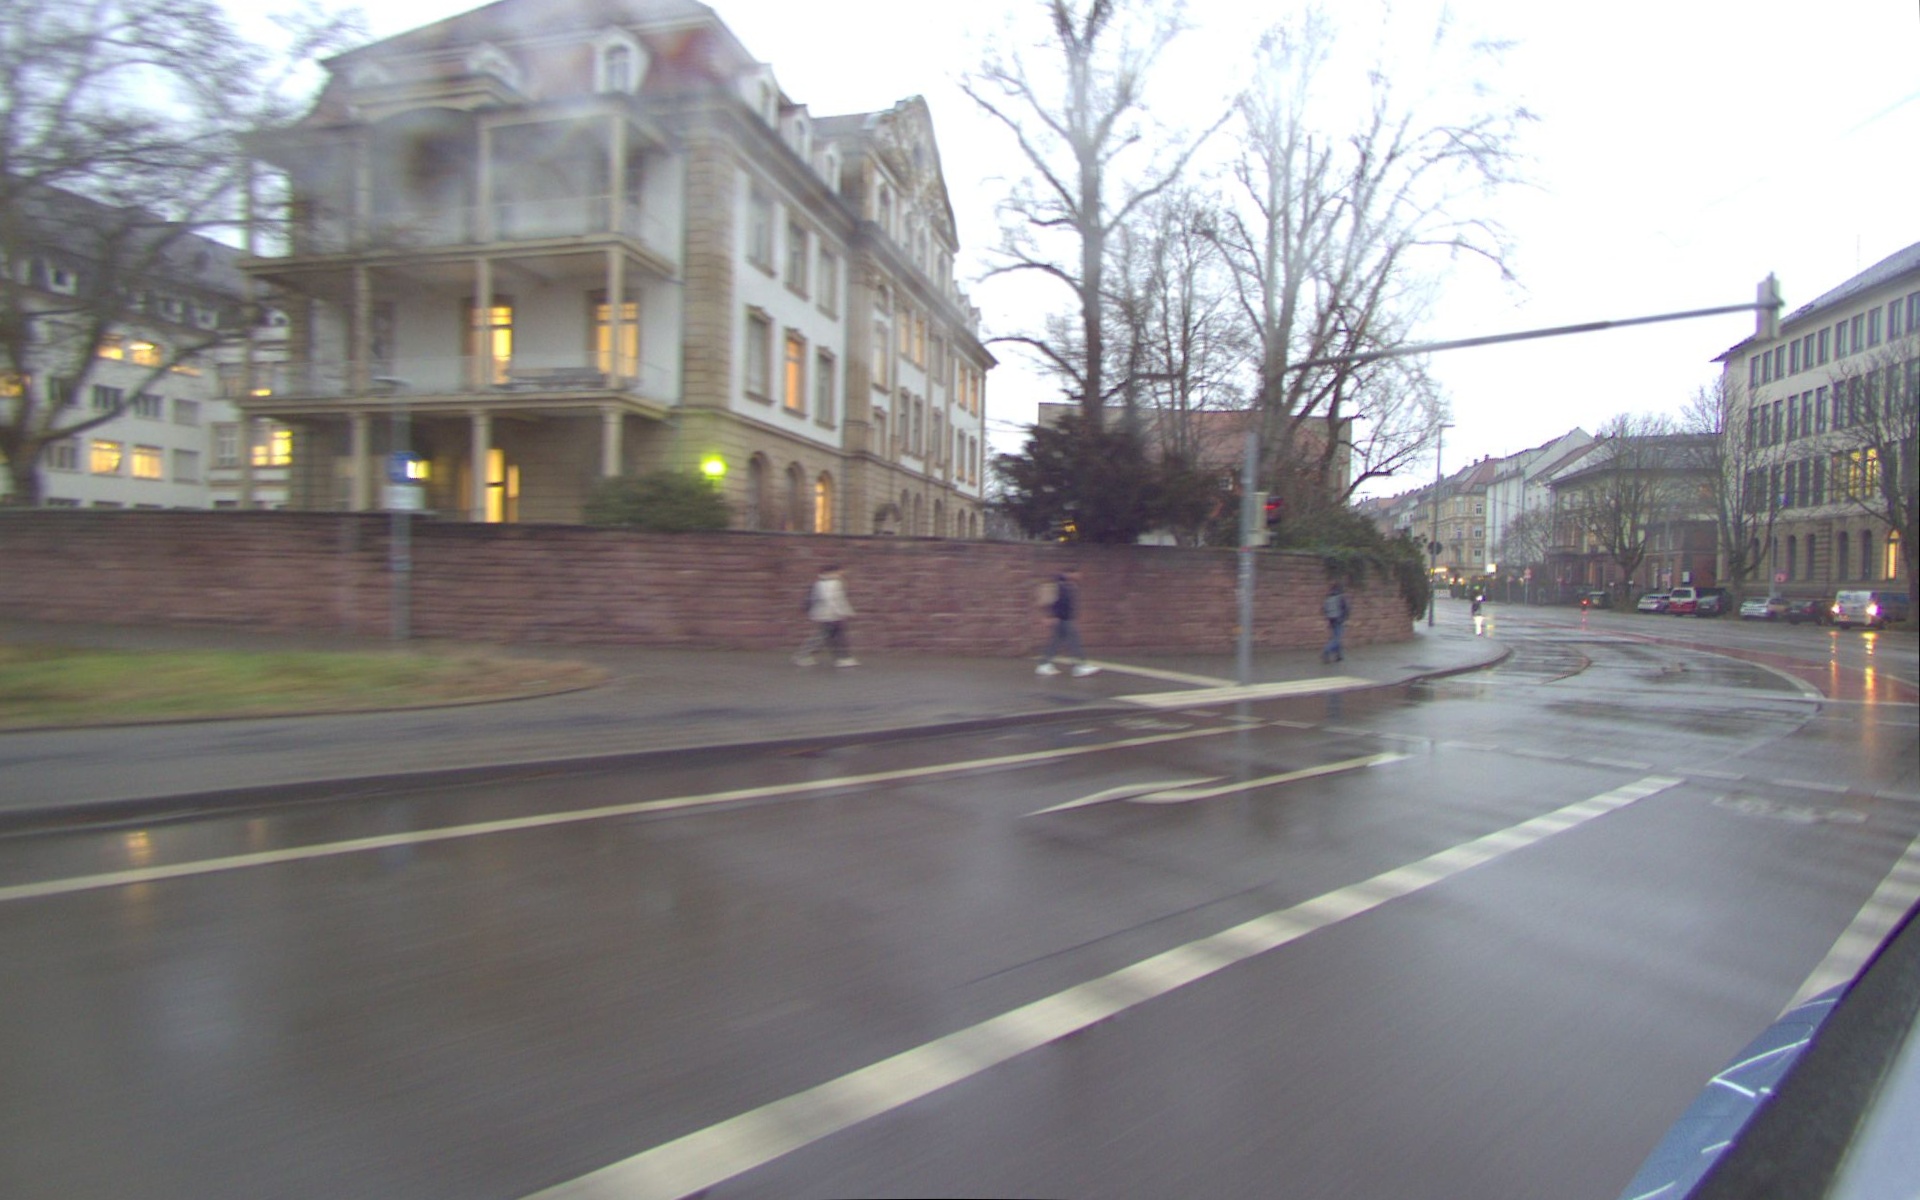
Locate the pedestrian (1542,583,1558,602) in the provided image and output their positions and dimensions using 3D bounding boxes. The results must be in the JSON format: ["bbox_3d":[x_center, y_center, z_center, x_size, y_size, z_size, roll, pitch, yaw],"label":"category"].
[{"bbox_3d":[55.099,-0.720,94.465,0.905,1.724,0.949,-1,1,-8],"label":"pedestrian"}]

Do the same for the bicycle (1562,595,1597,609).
[{"bbox_3d":[46.790,0.153,76.447,2.095,0.956,0.939,-1,1,19],"label":"bicycle"}]

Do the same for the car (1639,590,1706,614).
[{"bbox_3d":[52.245,0.155,74.202,4.097,1.610,1.779,-1,1,-15],"label":"car"}]

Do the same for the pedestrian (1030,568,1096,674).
[{"bbox_3d":[1.720,0.337,16.929,0.788,1.696,0.720,3,2,36],"label":"pedestrian"}]

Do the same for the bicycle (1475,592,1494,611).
[{"bbox_3d":[30.961,0.067,59.770,0.715,1.104,2.269,0,0,21],"label":"bicycle"}]

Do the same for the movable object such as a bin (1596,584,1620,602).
[{"bbox_3d":[54.655,-0.570,85.383,0.966,1.482,1.347,-1,1,-23],"label":"movable object such as a bin"}]

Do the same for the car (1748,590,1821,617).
[{"bbox_3d":[49.399,0.191,60.644,3.747,1.476,1.641,-2,1,-19],"label":"car"}]

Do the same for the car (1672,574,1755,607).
[{"bbox_3d":[50.967,-0.651,68.477,4.526,2.079,1.970,-1,1,-13],"label":"car"}]

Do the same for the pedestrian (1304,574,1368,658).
[{"bbox_3d":[7.955,0.322,21.417,1.138,1.705,0.805,1,2,-45],"label":"pedestrian"}]

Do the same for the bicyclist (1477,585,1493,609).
[{"bbox_3d":[31.073,-0.181,59.914,0.708,1.359,0.714,-1,1,21],"label":"bicyclist"}]

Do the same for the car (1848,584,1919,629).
[{"bbox_3d":[46.442,0.282,50.051,4.704,2.059,1.916,-2,1,-23],"label":"car"}]

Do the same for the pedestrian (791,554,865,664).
[{"bbox_3d":[-2.132,0.127,16.410,0.947,1.696,0.777,2,2,11],"label":"pedestrian"}]

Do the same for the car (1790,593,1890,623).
[{"bbox_3d":[48.250,0.413,55.514,4.384,1.476,1.804,-1,1,-12],"label":"car"}]

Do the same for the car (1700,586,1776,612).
[{"bbox_3d":[50.349,-0.072,65.501,3.894,1.558,1.827,-1,1,-13],"label":"car"}]

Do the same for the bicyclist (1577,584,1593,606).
[{"bbox_3d":[47.111,-0.371,76.261,0.846,1.615,0.776,1,1,19],"label":"bicyclist"}]
